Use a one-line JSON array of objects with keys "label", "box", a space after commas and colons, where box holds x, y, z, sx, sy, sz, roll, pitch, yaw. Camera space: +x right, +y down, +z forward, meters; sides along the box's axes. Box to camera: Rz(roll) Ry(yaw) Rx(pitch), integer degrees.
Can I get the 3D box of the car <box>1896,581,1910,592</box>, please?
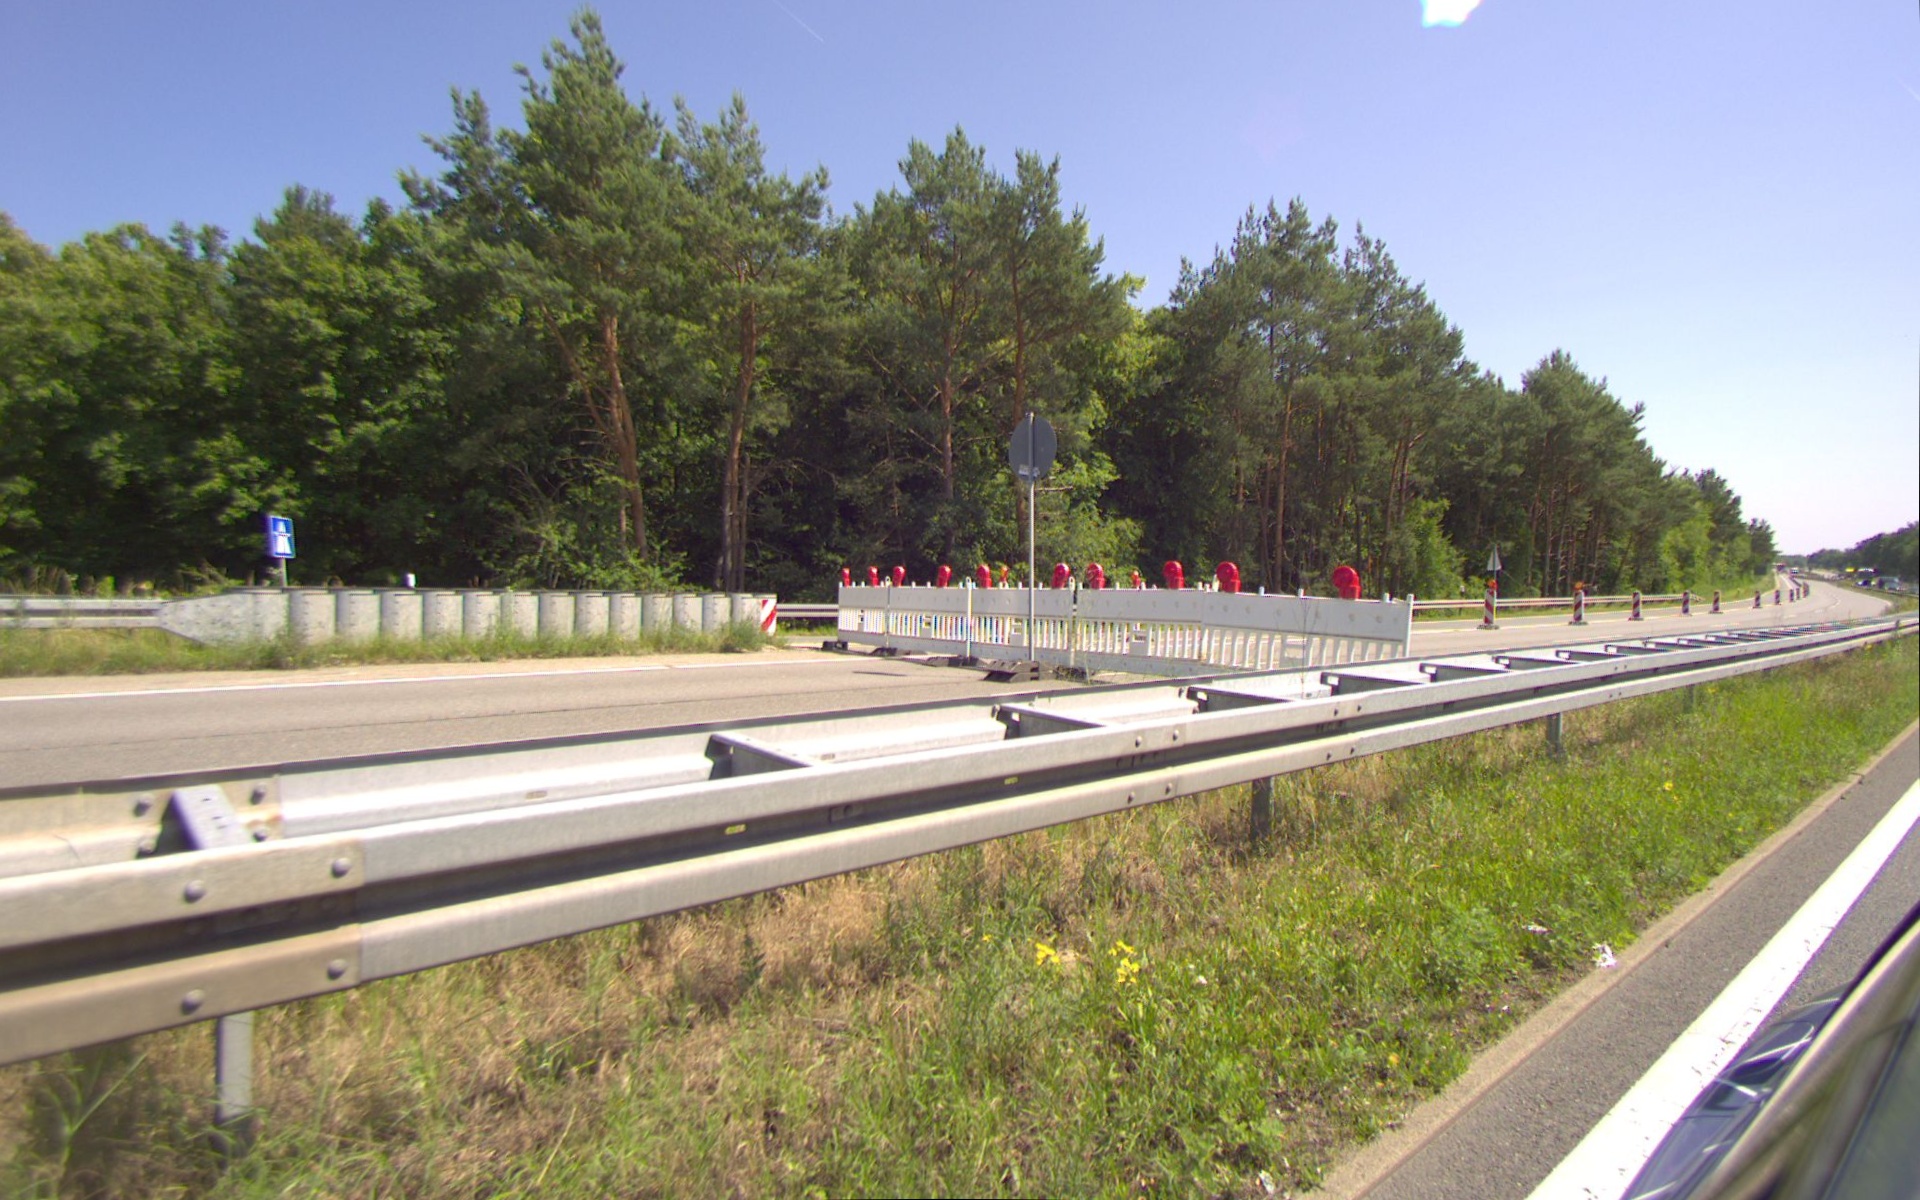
[{"label": "car", "box": [153.564, -2.222, 164.796, 1.522, 1.677, 3.920, 2, 2, 42]}]
